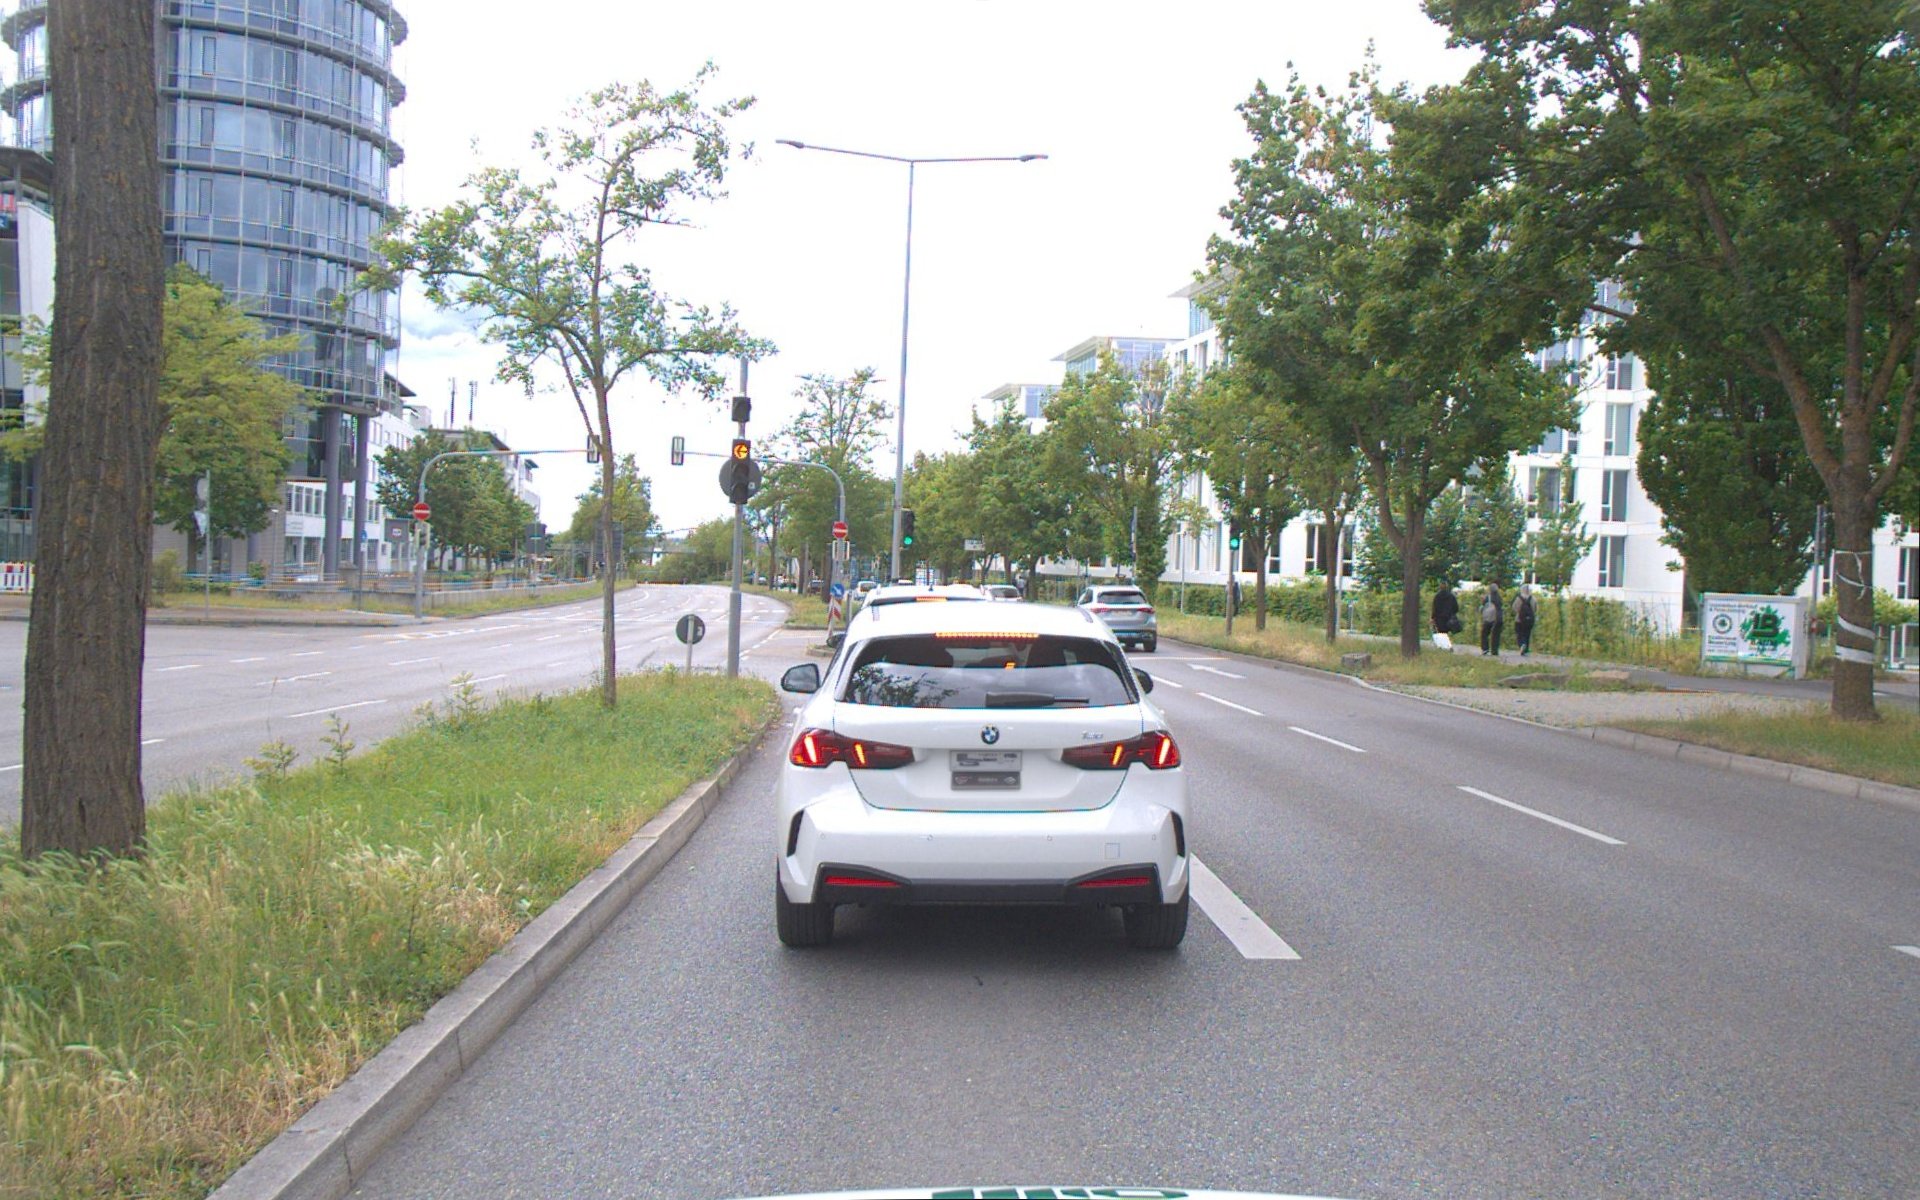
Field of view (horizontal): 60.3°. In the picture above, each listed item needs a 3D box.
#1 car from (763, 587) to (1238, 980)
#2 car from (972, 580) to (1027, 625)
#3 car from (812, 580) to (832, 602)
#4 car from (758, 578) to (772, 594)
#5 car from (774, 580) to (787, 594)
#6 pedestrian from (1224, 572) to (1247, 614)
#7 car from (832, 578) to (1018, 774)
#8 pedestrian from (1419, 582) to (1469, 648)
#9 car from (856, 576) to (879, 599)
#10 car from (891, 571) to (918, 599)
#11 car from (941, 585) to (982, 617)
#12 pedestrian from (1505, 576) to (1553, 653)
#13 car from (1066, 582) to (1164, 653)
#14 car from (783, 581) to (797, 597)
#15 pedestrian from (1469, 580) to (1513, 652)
[{"bbox_3d":[0.129,0.695,8.337,1.785,1.463,3.999,1,0,-1],"label":"car"},{"bbox_3d":[1.601,0.095,67.617,1.663,1.747,3.994,1,0,-7],"label":"car"},{"bbox_3d":[-11.497,-0.752,138.071,1.570,1.695,3.997,1,0,-4],"label":"car"},{"bbox_3d":[-26.119,-1.859,221.725,1.803,2.049,3.994,1,0,-7],"label":"car"},{"bbox_3d":[-26.475,-1.909,243.615,1.803,2.049,3.994,1,0,-7],"label":"car"},{"bbox_3d":[10.659,-0.276,63.960,0.726,1.601,0.674,1,-1,-2],"label":"pedestrian"},{"bbox_3d":[-0.324,0.628,15.849,1.518,1.596,3.999,1,0,-1],"label":"car"},{"bbox_3d":[10.954,0.341,37.483,0.773,1.473,1.111,1,0,-2],"label":"pedestrian"},{"bbox_3d":[-7.164,-0.971,128.016,1.705,1.695,3.997,1,0,-4],"label":"car"},{"bbox_3d":[-3.625,-0.969,107.652,1.570,1.695,3.997,1,0,-4],"label":"car"},{"bbox_3d":[0.045,0.049,82.860,1.660,1.512,3.689,1,0,-6],"label":"car"},{"bbox_3d":[12.940,0.319,37.620,0.751,1.715,0.883,1,-1,-2],"label":"pedestrian"},{"bbox_3d":[3.888,0.417,42.084,1.954,1.699,3.998,0,0,-3],"label":"car"},{"bbox_3d":[-22.207,-1.450,215.907,1.803,2.049,3.994,1,0,-7],"label":"car"},{"bbox_3d":[12.044,0.360,37.536,0.685,1.623,0.883,1,0,-2],"label":"pedestrian"}]
